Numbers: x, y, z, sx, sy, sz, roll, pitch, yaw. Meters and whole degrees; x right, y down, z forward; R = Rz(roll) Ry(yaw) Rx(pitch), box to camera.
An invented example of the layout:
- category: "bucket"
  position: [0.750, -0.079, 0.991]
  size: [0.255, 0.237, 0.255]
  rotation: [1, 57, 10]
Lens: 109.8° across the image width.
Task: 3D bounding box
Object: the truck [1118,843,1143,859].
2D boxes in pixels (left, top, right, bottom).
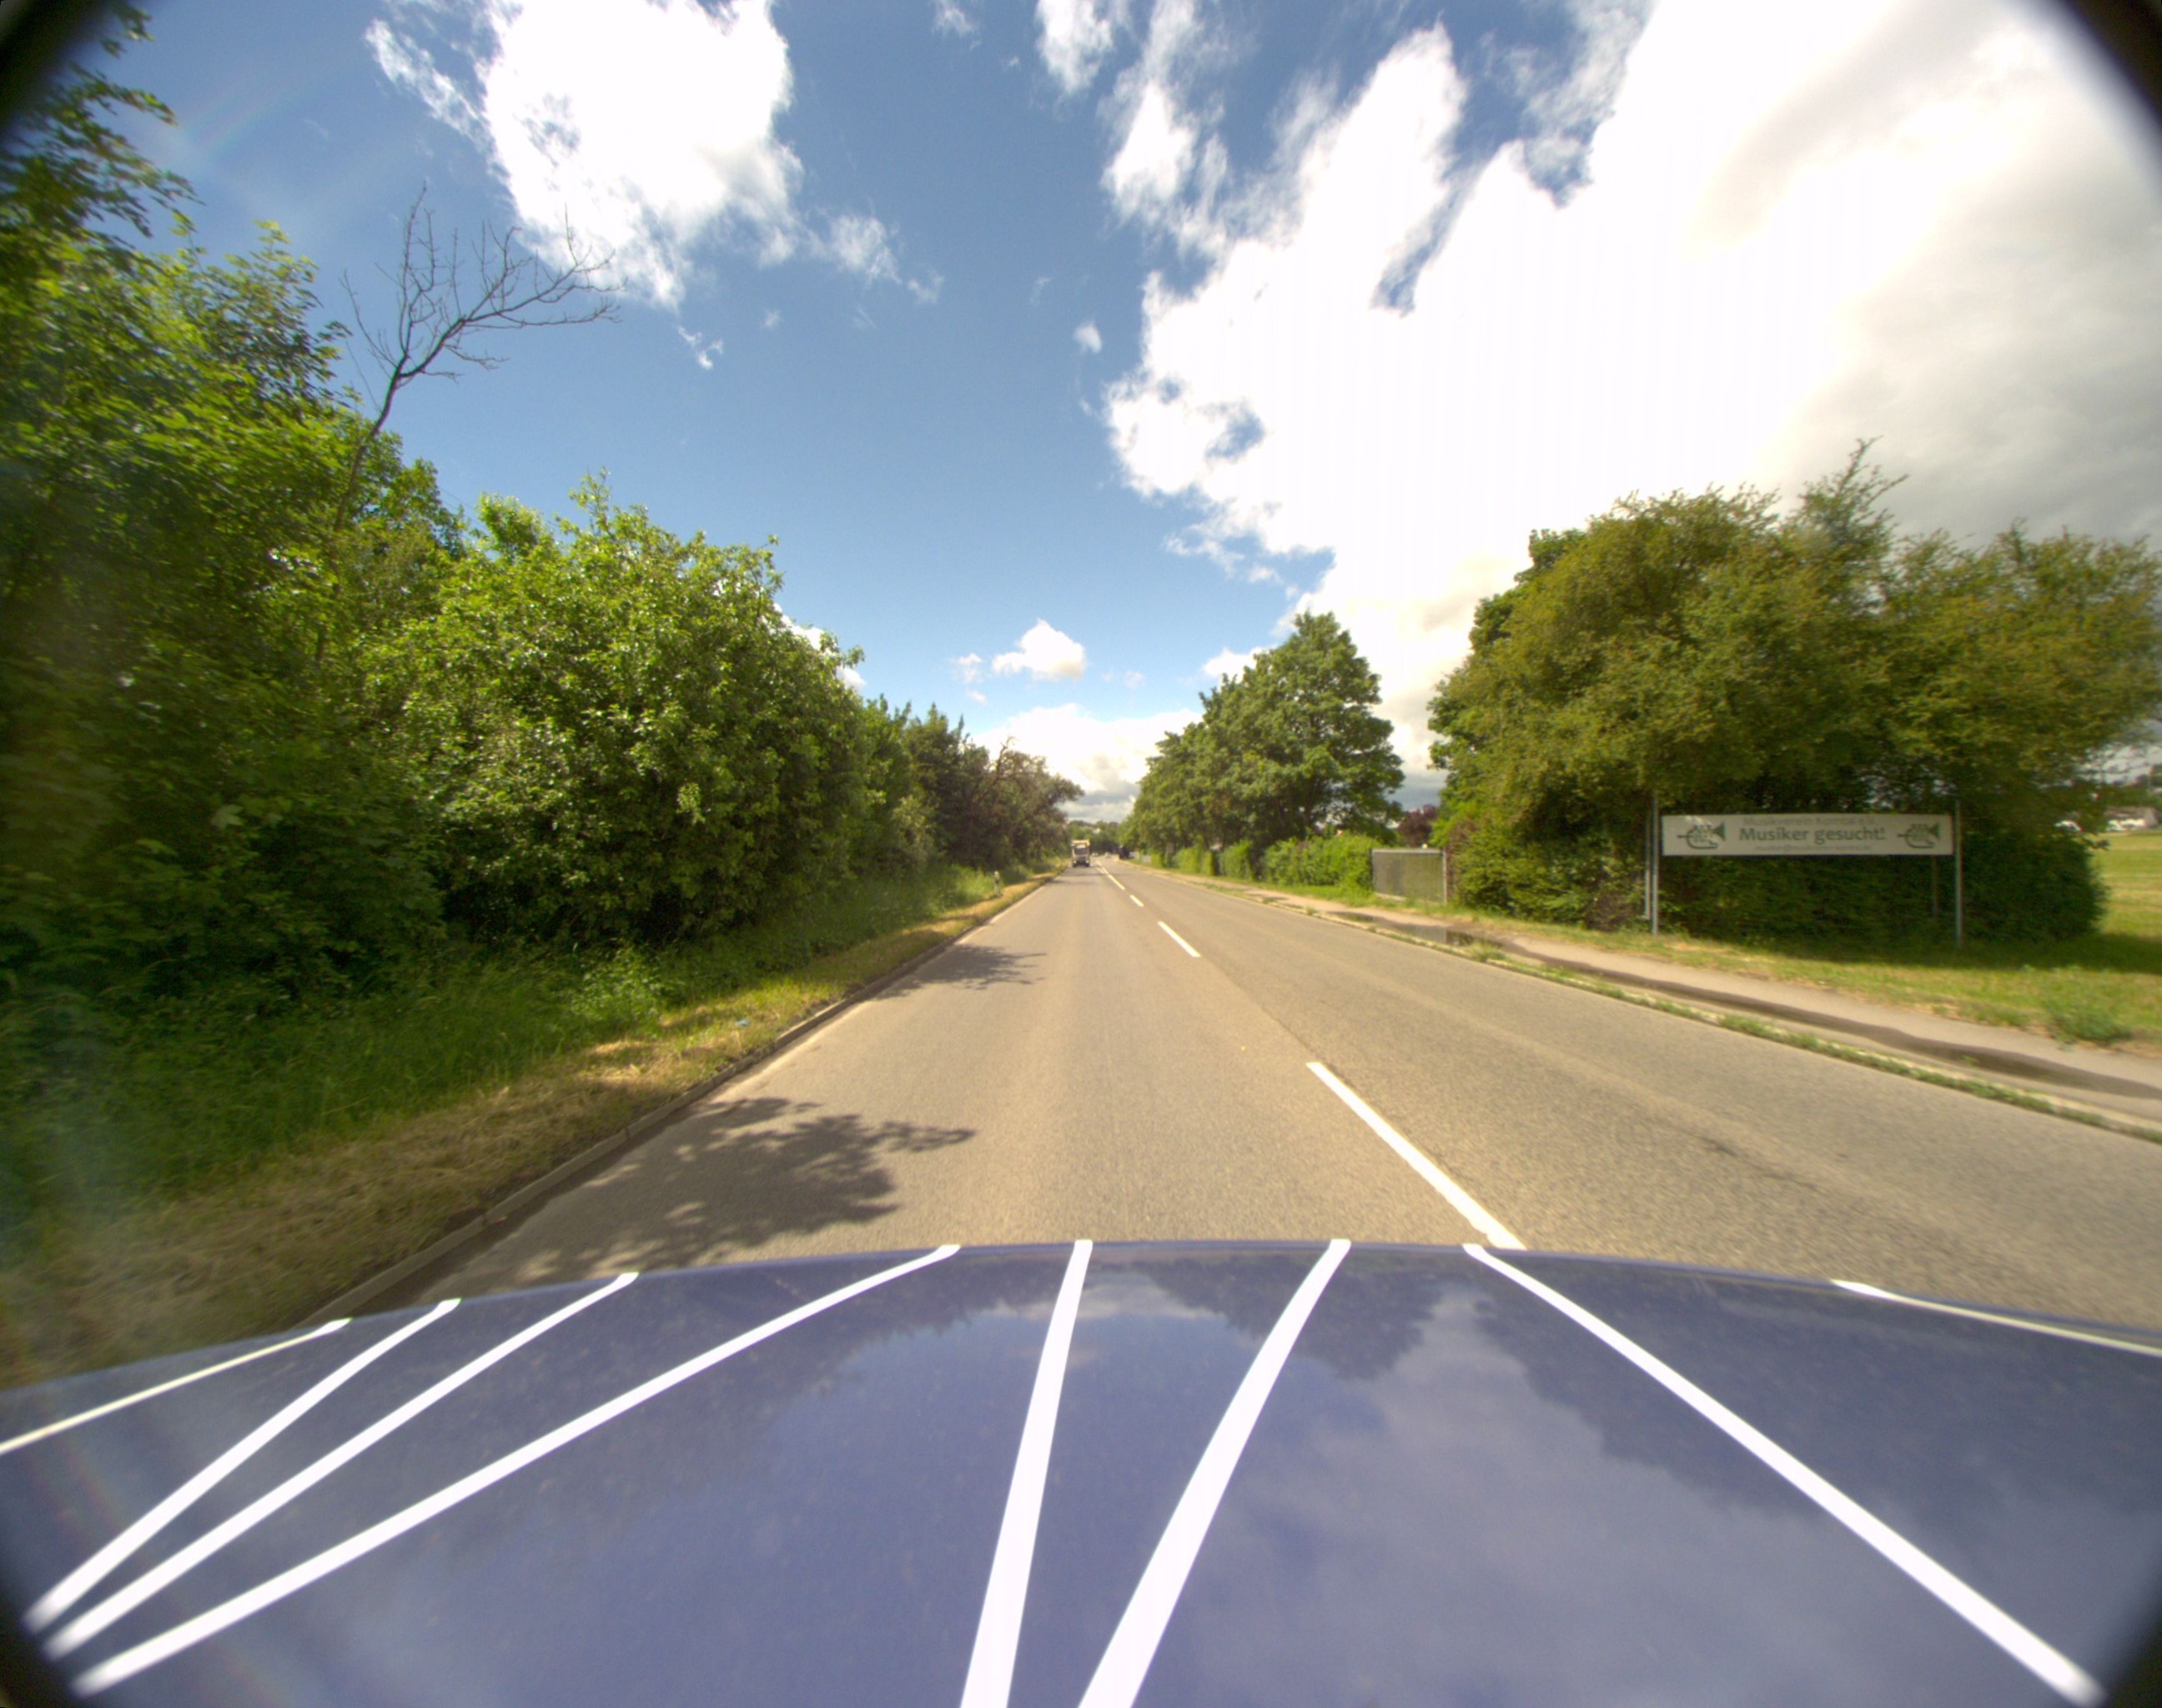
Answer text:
- category: "truck"
  position: [11.759, -0.629, 182.150]
  size: [5.570, 3.801, 2.983]
  rotation: [0, 1, -4]

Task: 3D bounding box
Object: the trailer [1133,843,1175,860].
- category: "trailer"
  position: [17.623, -0.691, 183.396]
  size: [9.472, 4.059, 3.315]
  rotation: [0, 1, -15]

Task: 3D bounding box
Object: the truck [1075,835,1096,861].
- category: "truck"
  position: [0.648, -0.883, 110.992]
  size: [2.905, 3.746, 9.633]
  rotation: [0, 1, 0]
